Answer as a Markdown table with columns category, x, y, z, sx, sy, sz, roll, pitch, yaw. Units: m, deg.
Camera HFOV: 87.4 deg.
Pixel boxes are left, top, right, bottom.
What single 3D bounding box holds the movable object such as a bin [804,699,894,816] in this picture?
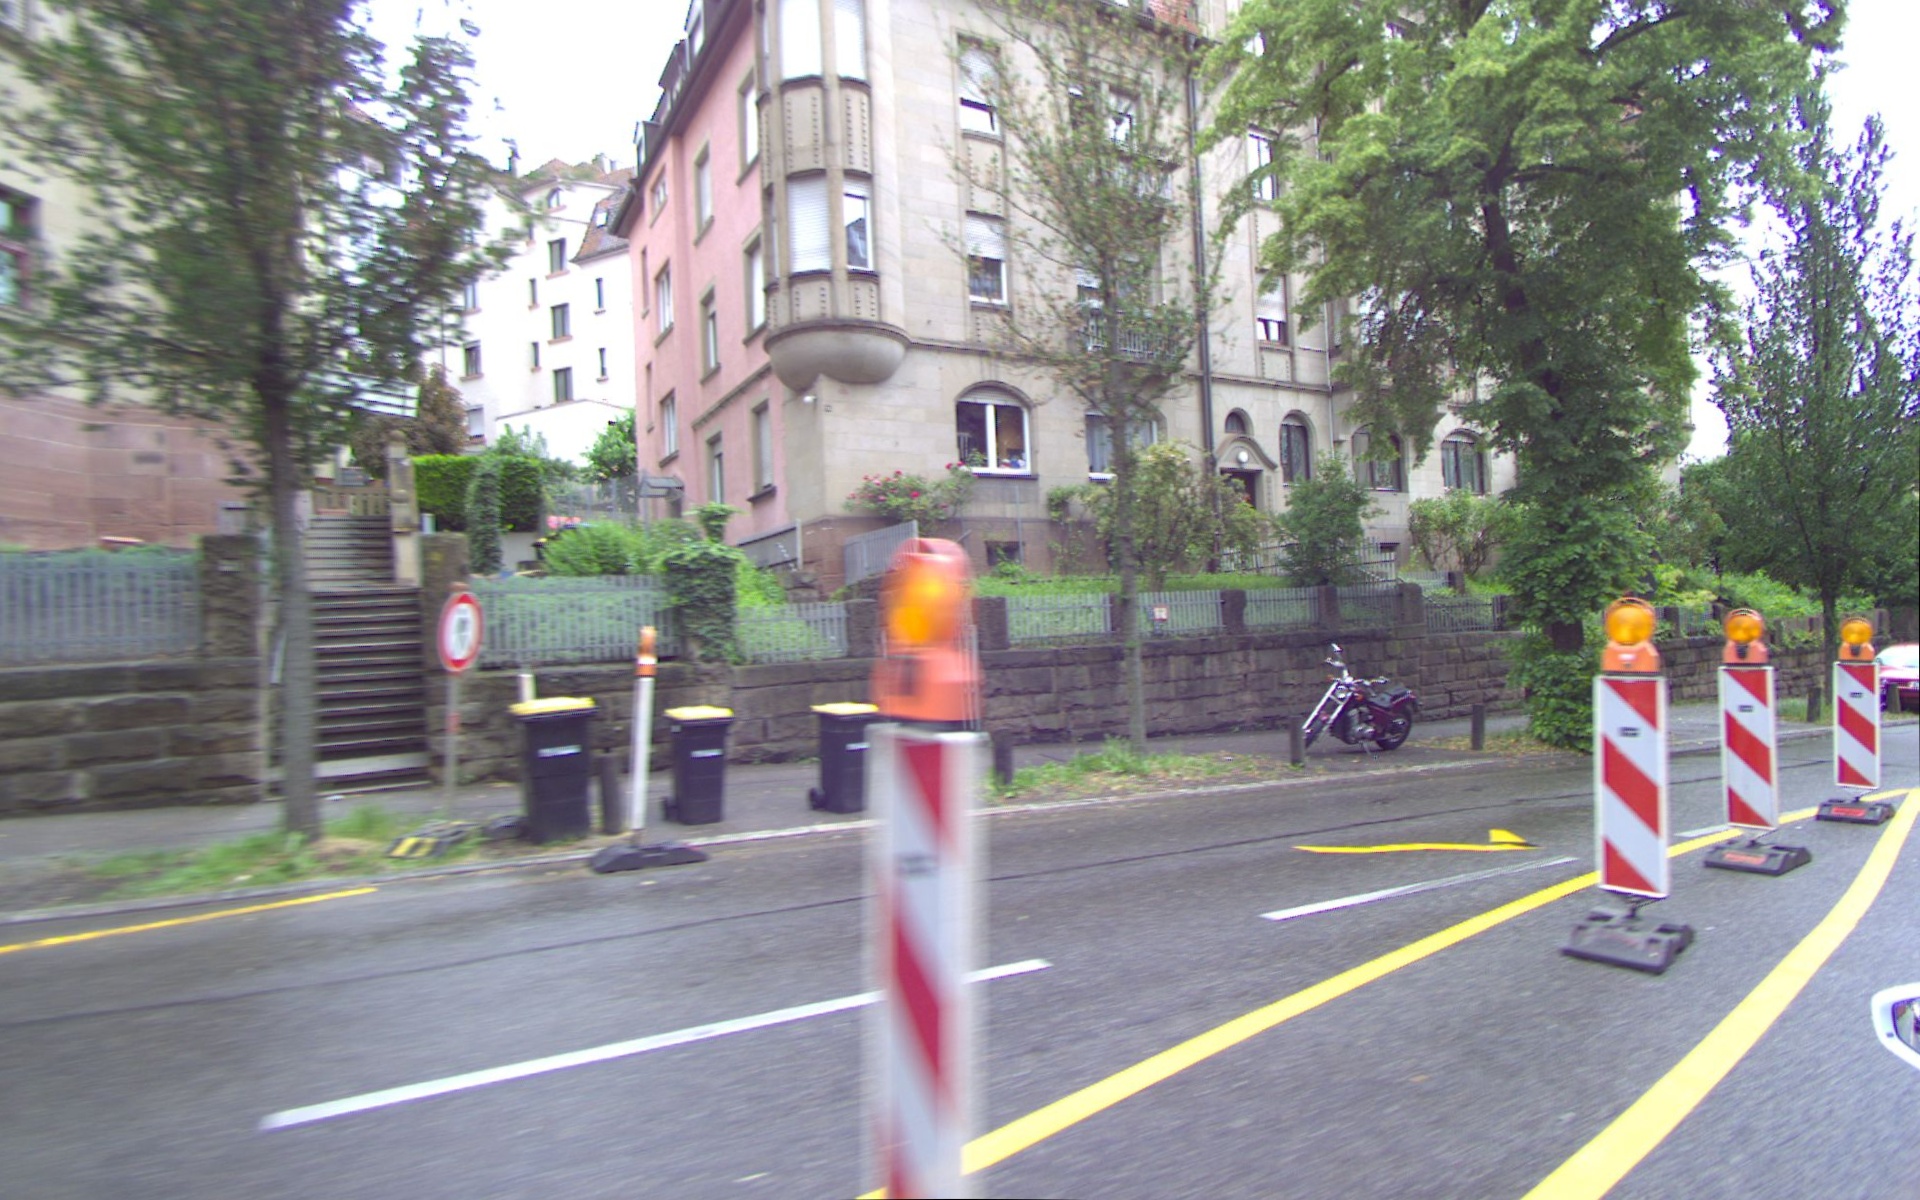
| category | x | y | z | sx | sy | sz | roll | pitch | yaw |
| --- | --- | --- | --- | --- | --- | --- | --- | --- | --- |
| movable object such as a bin | -0.999 | 1.382 | 8.972 | 0.616 | 0.920 | 0.601 | 1 | 0 | -29 |

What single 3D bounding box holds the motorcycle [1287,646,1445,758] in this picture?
| category | x | y | z | sx | sy | sz | roll | pitch | yaw |
| --- | --- | --- | --- | --- | --- | --- | --- | --- | --- |
| motorcycle | 5.415 | 1.319 | 13.350 | 2.177 | 1.363 | 0.762 | 2 | -1 | -30 |

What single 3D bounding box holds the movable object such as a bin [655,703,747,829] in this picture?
| category | x | y | z | sx | sy | sz | roll | pitch | yaw |
| --- | --- | --- | --- | --- | --- | --- | --- | --- | --- |
| movable object such as a bin | -2.162 | 1.357 | 8.365 | 0.616 | 0.920 | 0.601 | 1 | 0 | -29 |

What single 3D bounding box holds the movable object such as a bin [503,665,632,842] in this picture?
| category | x | y | z | sx | sy | sz | roll | pitch | yaw |
| --- | --- | --- | --- | --- | --- | --- | --- | --- | --- |
| movable object such as a bin | -3.134 | 1.167 | 7.986 | 0.845 | 1.230 | 0.941 | 1 | 0 | -29 |

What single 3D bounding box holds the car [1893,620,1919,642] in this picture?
| category | x | y | z | sx | sy | sz | roll | pitch | yaw |
| --- | --- | --- | --- | --- | --- | --- | --- | --- | --- |
| car | 78.151 | 2.545 | 80.990 | 1.723 | 1.773 | 3.989 | 2 | -1 | -14 |

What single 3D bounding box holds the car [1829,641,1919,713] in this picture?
| category | x | y | z | sx | sy | sz | roll | pitch | yaw |
| --- | --- | --- | --- | --- | --- | --- | --- | --- | --- |
| car | 21.131 | 1.646 | 22.234 | 4.031 | 1.458 | 1.630 | 1 | -3 | -30 |
